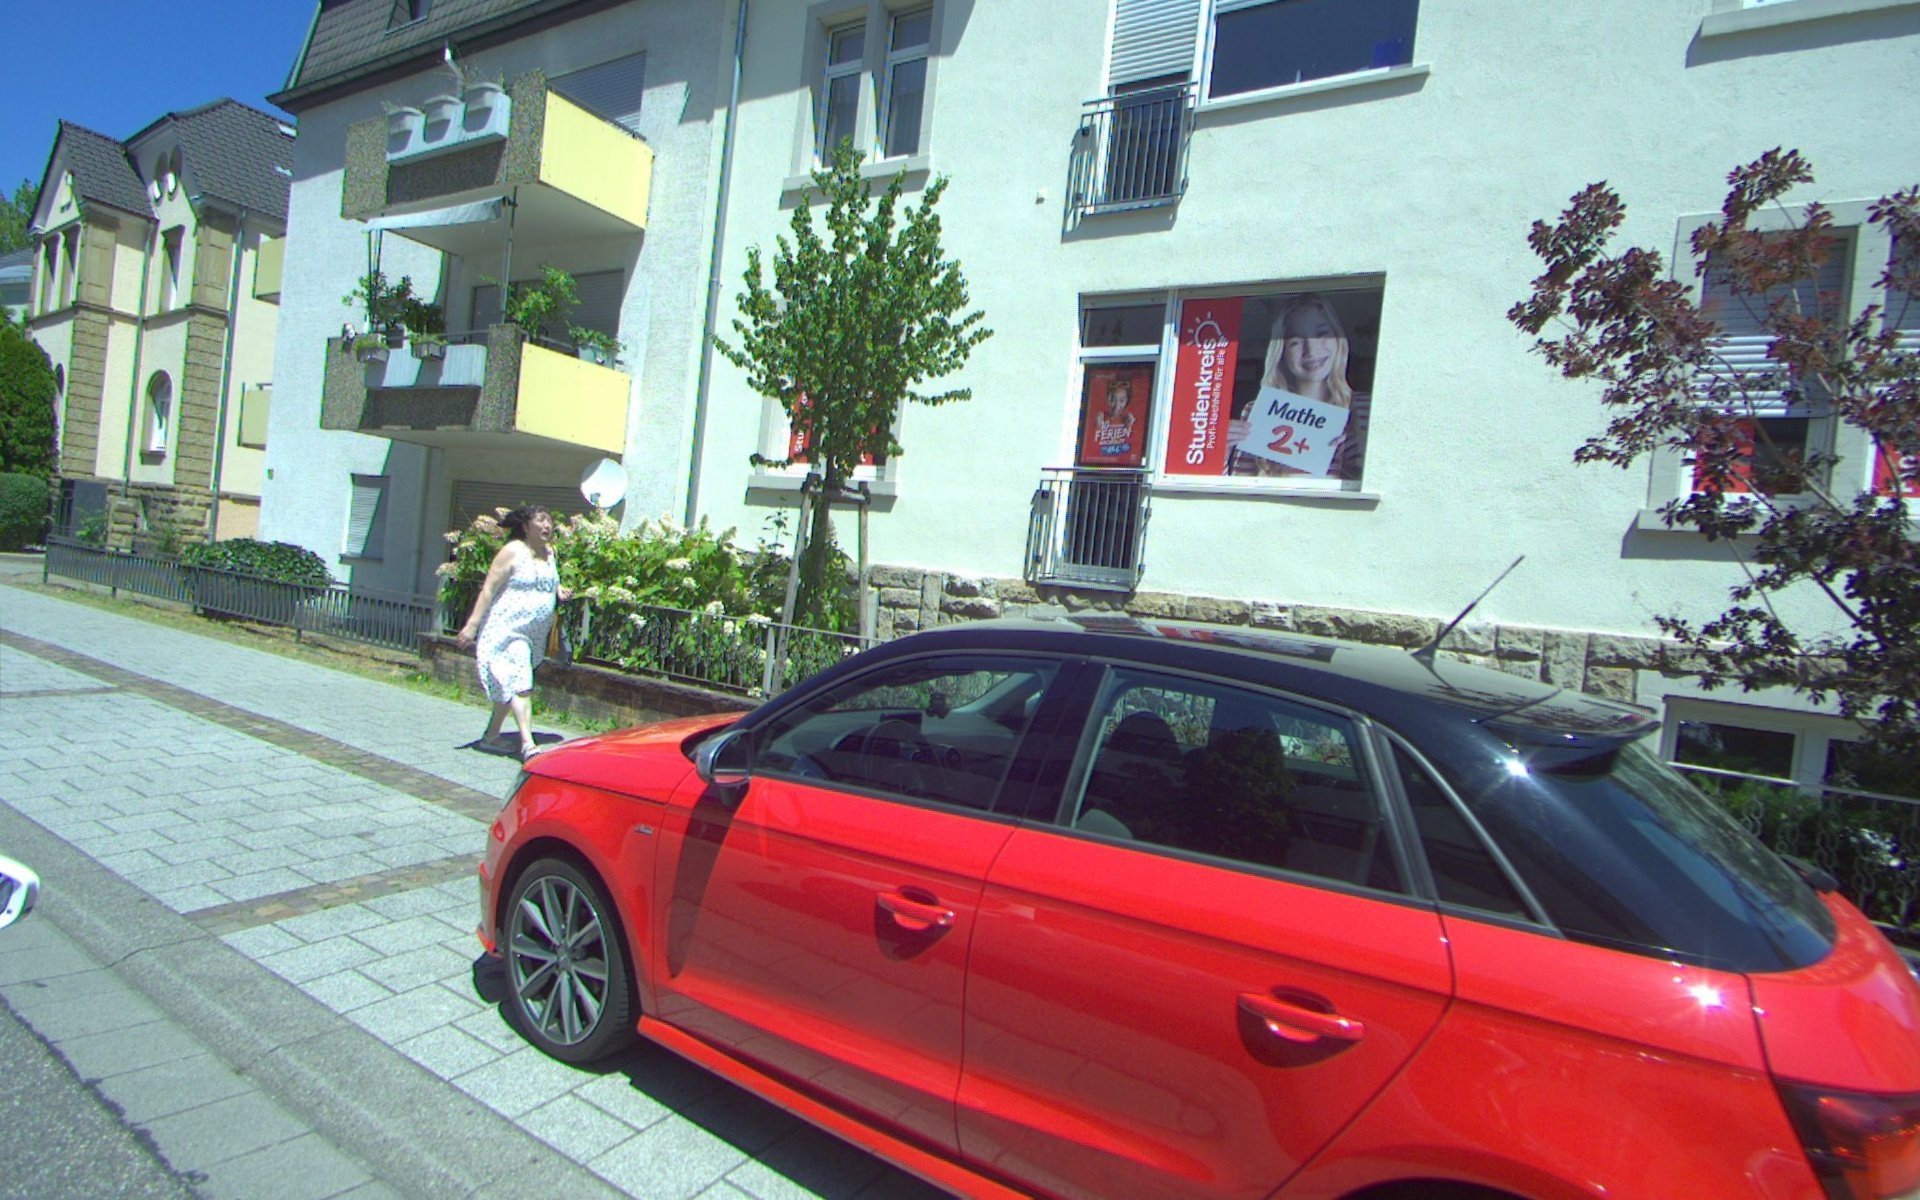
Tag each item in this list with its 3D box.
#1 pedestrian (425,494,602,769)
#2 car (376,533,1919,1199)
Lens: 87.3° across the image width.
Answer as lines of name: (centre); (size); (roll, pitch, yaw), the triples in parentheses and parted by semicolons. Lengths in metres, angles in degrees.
pedestrian: (-2.996, 0.190, 6.761); (0.694, 1.692, 0.740); (7, 4, 31)
car: (0.098, 0.701, 2.945); (3.791, 1.460, 1.602); (7, 3, 34)
